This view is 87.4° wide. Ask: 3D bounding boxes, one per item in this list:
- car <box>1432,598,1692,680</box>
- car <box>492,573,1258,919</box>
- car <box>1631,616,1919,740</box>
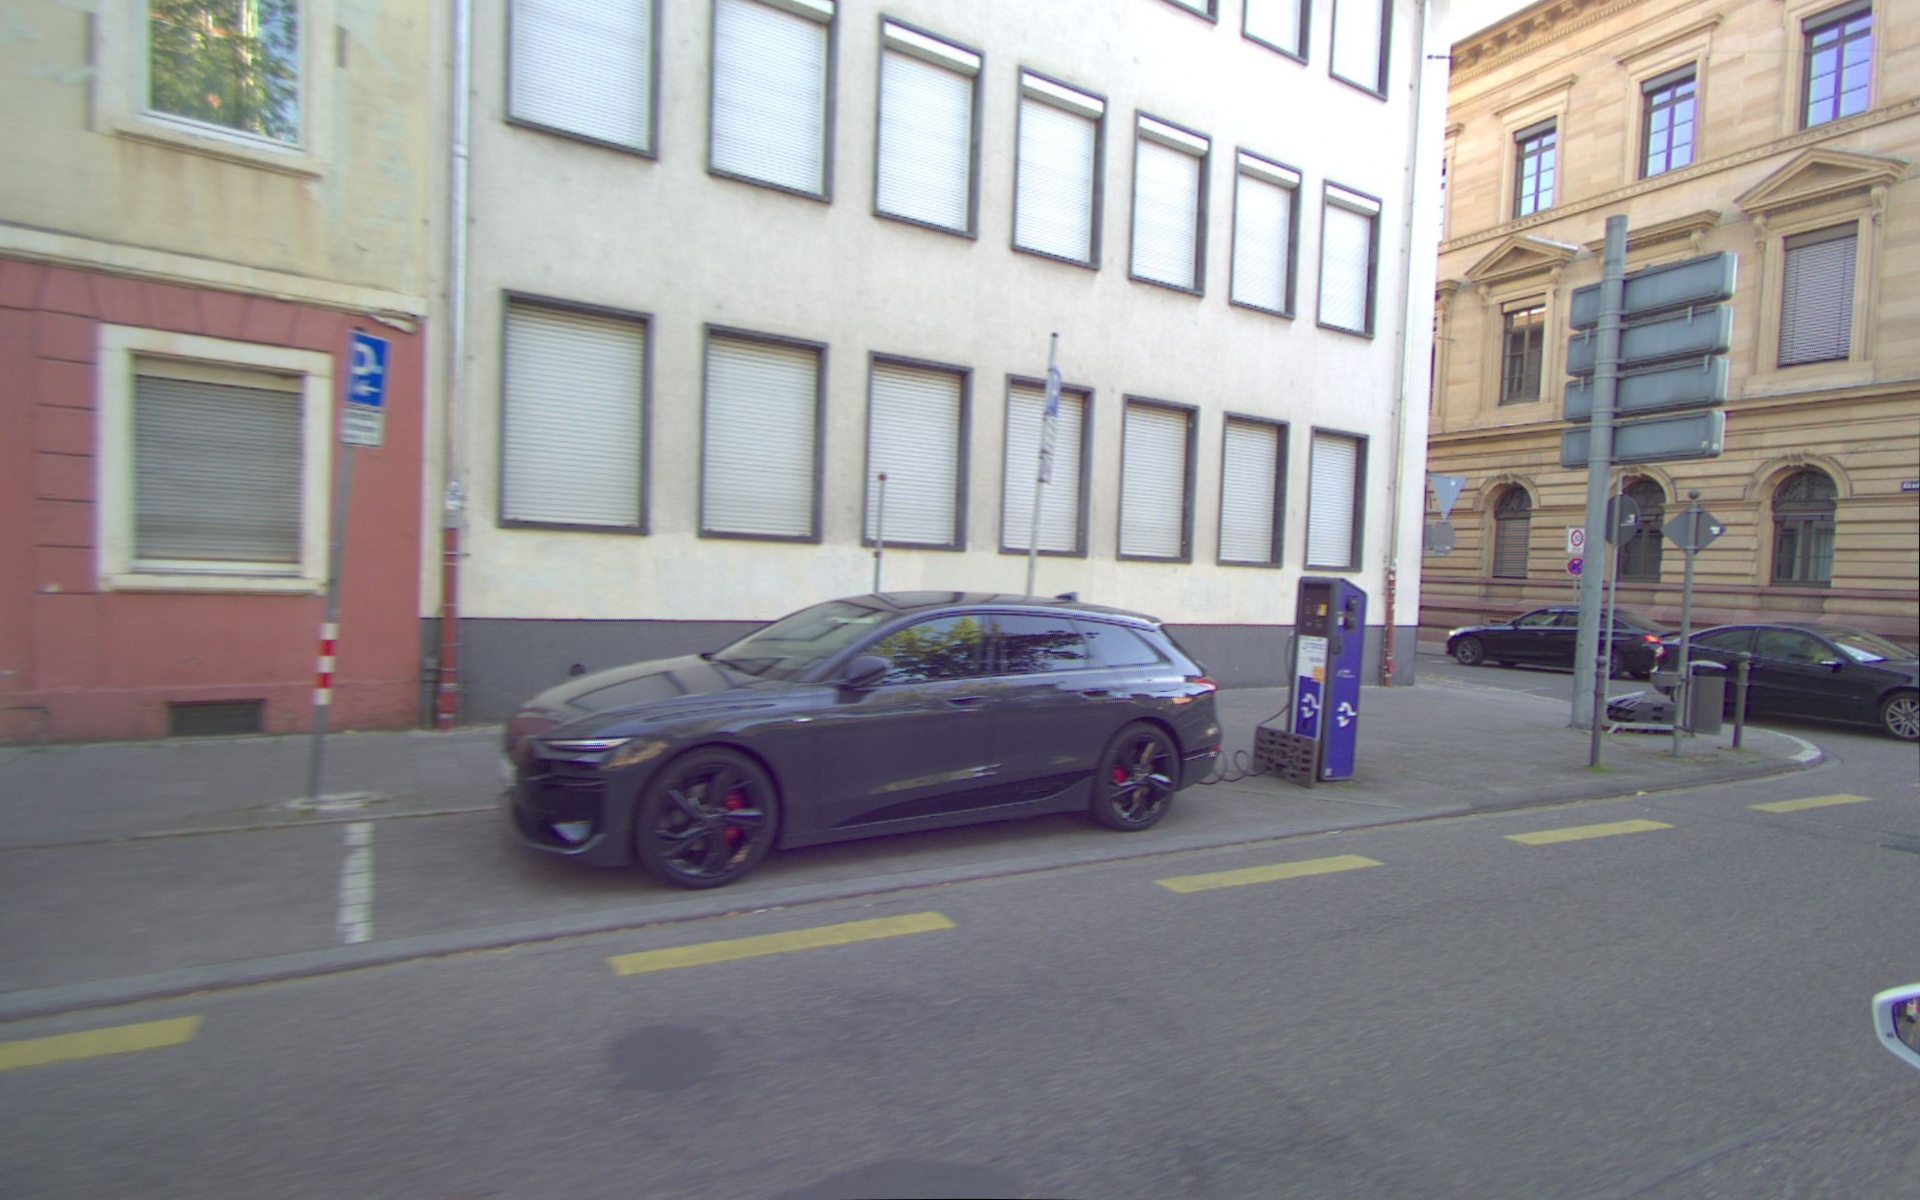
[{"bbox_3d":[12.661,0.755,21.421,1.757,1.480,4.427,1,1,-33],"label":"car"},{"bbox_3d":[-0.389,0.687,6.622,4.707,1.524,1.813,1,3,-32],"label":"car"},{"bbox_3d":[12.083,1.006,14.000,1.750,1.408,4.305,1,1,-22],"label":"car"}]
